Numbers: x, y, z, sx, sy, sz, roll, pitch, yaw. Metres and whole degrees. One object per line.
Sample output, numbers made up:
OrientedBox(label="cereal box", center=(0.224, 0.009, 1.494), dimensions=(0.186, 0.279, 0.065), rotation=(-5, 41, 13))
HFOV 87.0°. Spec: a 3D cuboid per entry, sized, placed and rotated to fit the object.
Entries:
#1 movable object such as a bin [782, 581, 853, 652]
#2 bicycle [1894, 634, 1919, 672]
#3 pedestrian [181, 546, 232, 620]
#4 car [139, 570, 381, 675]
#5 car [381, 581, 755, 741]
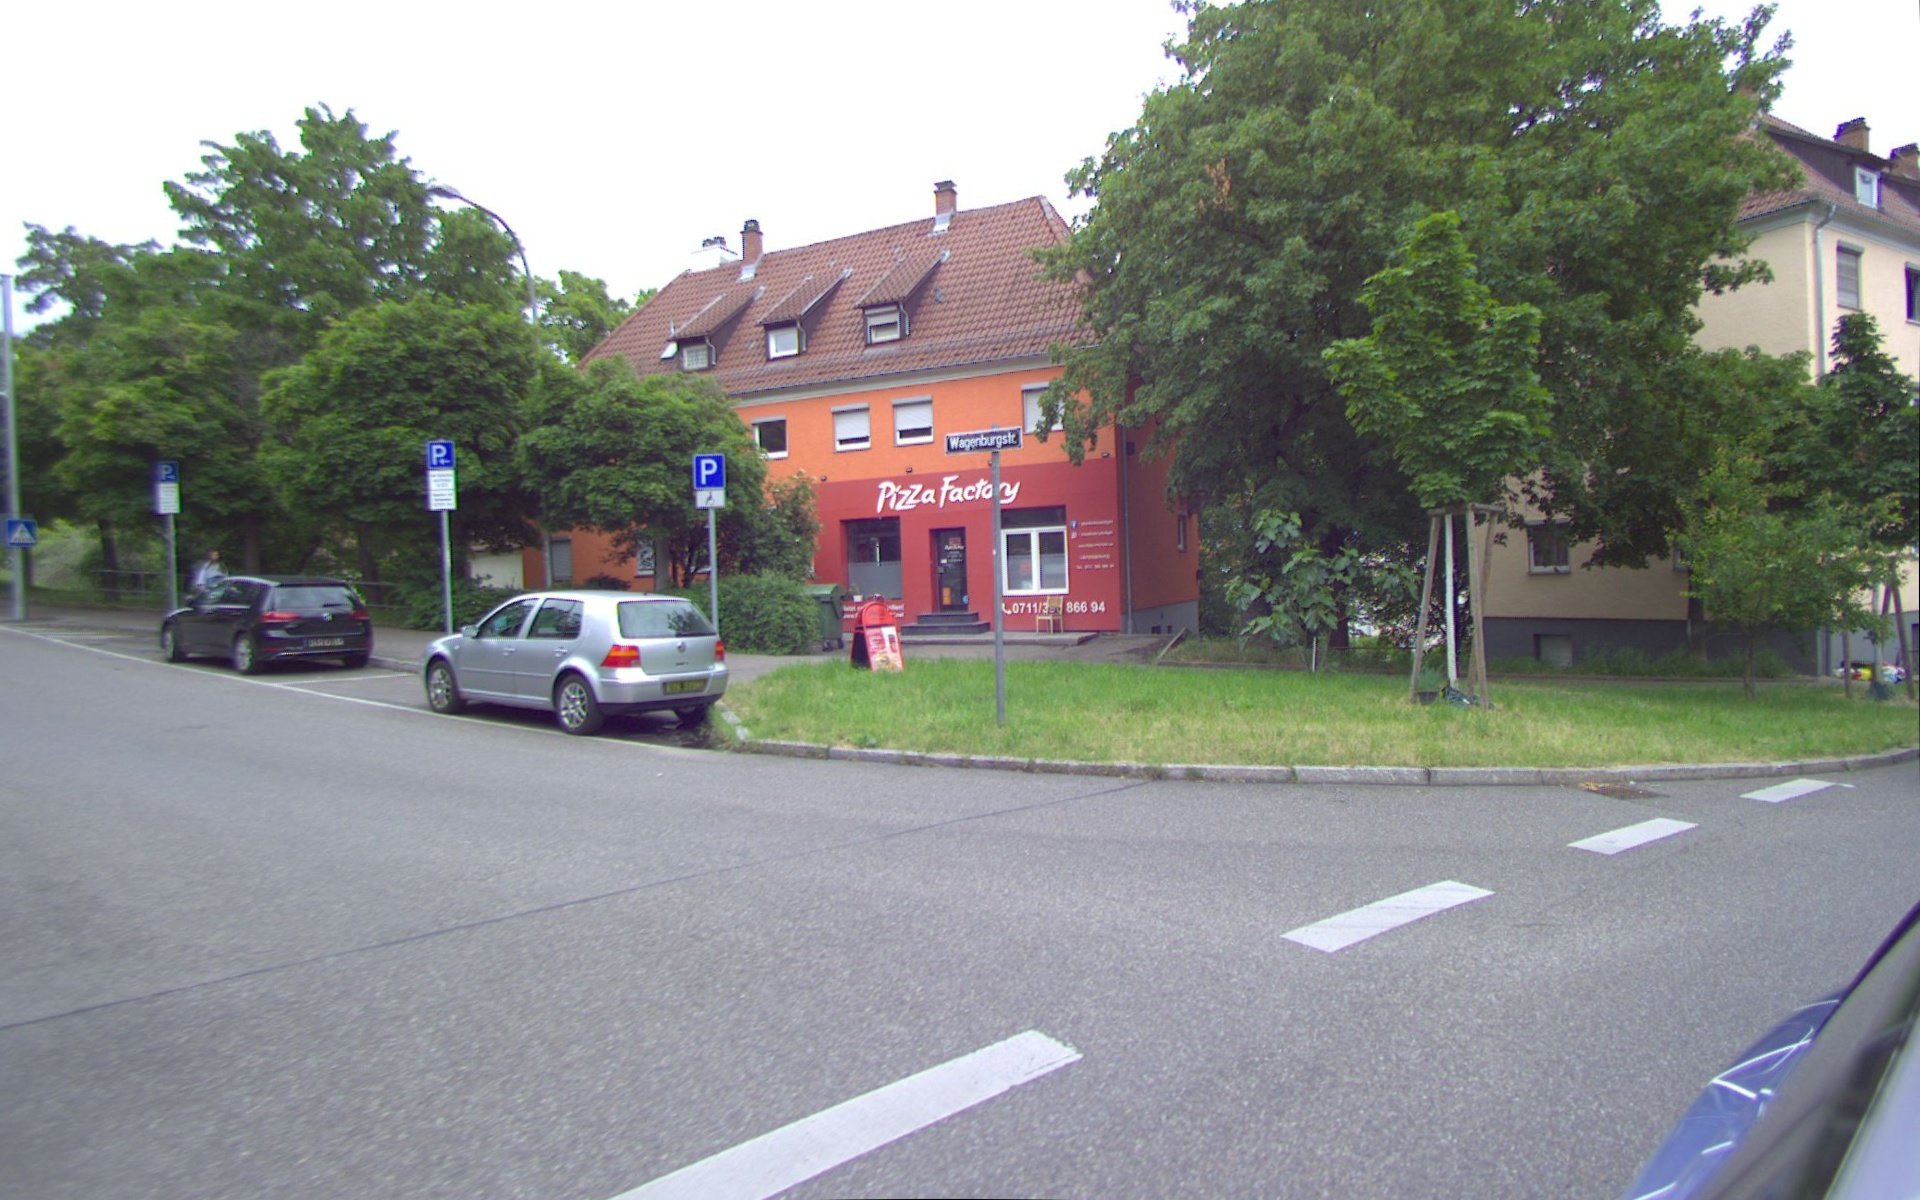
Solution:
OrientedBox(label="movable object such as a bin", center=(-3.109, 0.327, 22.124), dimensions=(1.070, 1.468, 1.233), rotation=(1, 2, 23))
OrientedBox(label="bicycle", center=(20.870, 1.135, 21.921), dimensions=(1.526, 0.782, 0.490), rotation=(1, 0, -30))
OrientedBox(label="pedestrian", center=(-16.439, -0.385, 22.084), dimensions=(0.488, 1.563, 0.672), rotation=(1, 4, 24))
OrientedBox(label="car", center=(-11.239, 0.270, 16.189), dimensions=(4.099, 1.446, 1.718), rotation=(2, 2, 32))
OrientedBox(label="car", center=(-4.478, 0.562, 11.417), dimensions=(4.099, 1.446, 1.841), rotation=(2, 0, 32))
